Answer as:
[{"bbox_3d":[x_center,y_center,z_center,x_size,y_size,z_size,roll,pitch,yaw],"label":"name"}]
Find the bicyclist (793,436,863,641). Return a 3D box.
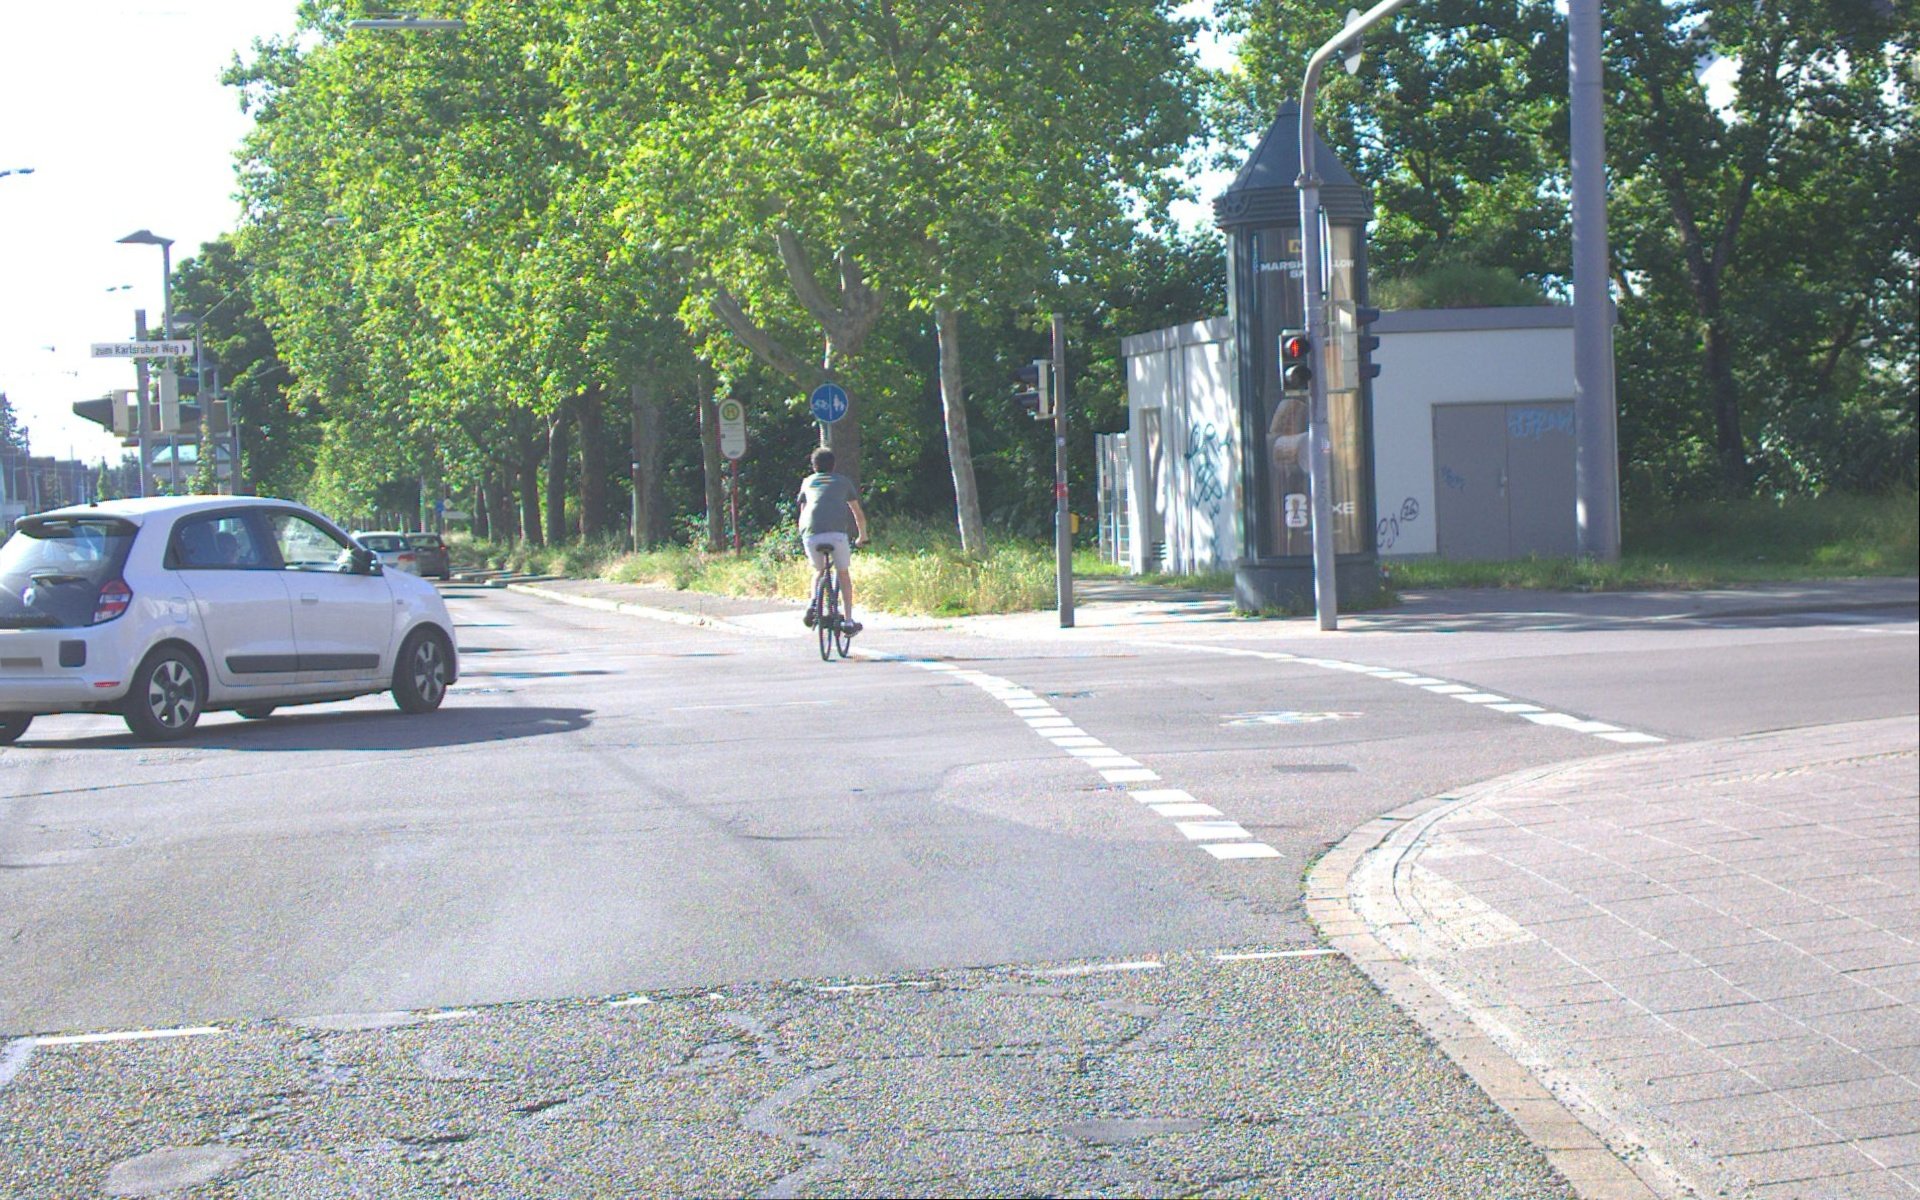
[{"bbox_3d":[-1.161,-0.542,30.246,0.534,1.763,0.713,-2,2,-2],"label":"bicyclist"}]

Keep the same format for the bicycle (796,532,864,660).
[{"bbox_3d":[-1.143,-0.050,30.218,0.536,1.062,1.434,-2,2,-2],"label":"bicycle"}]

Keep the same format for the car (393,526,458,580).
[{"bbox_3d":[-16.610,-1.476,106.753,1.750,1.599,3.582,-3,2,-12],"label":"car"}]

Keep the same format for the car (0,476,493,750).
[{"bbox_3d":[-4.999,0.036,22.826,1.753,1.599,3.744,-1,2,31],"label":"car"}]

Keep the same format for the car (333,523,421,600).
[{"bbox_3d":[-12.988,-0.883,76.467,1.750,1.599,3.582,-3,2,-12],"label":"car"}]
